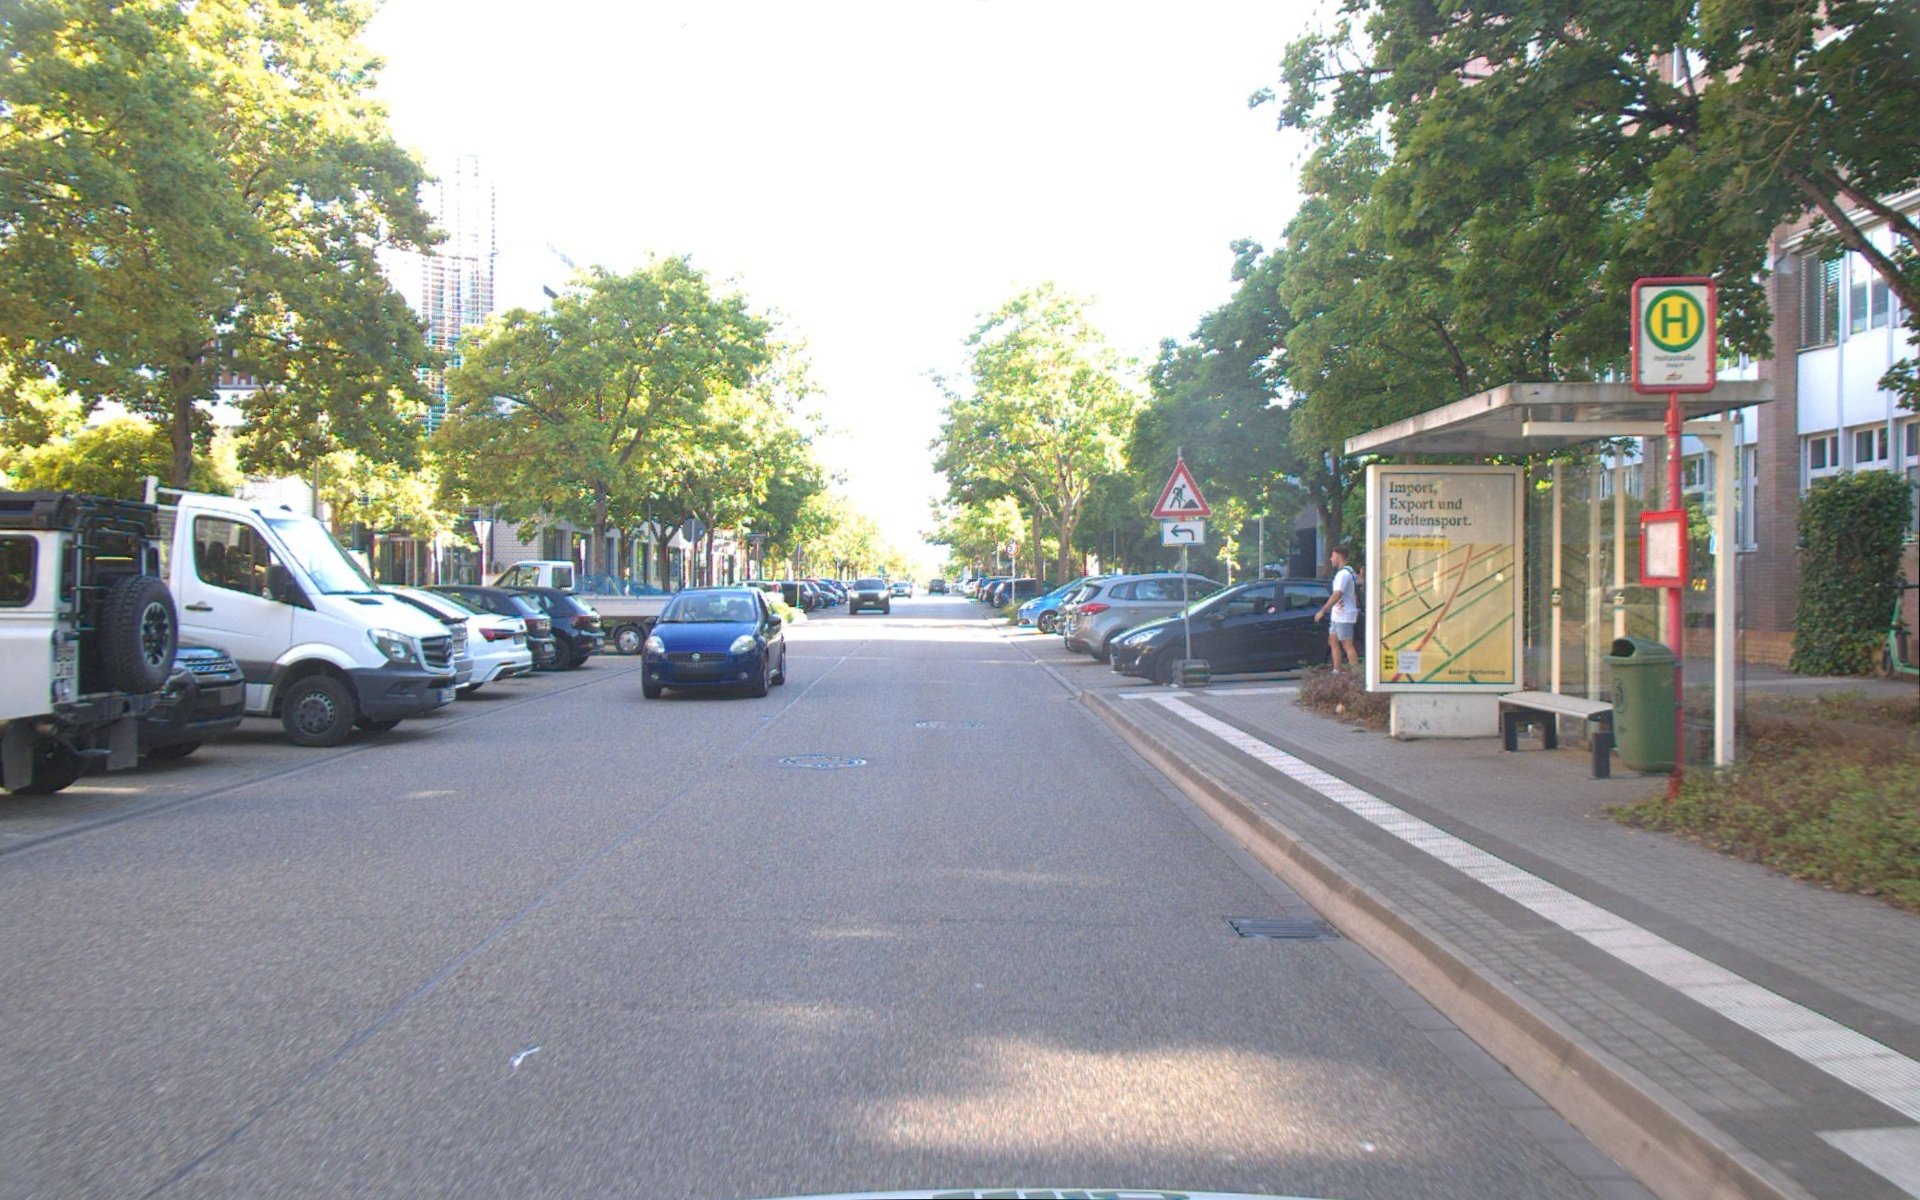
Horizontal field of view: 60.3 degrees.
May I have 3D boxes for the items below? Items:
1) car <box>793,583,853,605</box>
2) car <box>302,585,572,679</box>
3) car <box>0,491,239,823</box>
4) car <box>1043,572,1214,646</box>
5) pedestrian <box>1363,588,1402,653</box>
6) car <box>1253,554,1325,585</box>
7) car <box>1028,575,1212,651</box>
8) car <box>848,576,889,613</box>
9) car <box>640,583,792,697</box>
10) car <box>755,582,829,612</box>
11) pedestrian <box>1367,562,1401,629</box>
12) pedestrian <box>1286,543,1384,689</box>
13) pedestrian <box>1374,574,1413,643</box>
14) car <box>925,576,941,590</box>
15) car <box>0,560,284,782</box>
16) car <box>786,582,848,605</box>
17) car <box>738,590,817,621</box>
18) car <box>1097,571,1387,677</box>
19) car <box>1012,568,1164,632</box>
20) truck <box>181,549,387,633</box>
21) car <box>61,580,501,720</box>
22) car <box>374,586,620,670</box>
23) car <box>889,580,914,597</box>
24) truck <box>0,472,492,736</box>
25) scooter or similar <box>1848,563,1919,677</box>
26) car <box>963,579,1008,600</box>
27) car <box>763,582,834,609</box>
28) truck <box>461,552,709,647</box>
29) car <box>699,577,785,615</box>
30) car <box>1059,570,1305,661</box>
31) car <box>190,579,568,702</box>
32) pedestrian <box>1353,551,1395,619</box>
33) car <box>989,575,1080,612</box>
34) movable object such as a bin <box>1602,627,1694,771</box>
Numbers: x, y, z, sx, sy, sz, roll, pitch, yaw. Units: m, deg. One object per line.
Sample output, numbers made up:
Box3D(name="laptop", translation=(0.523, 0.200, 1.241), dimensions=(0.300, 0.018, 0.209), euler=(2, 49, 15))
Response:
Box3D(name="car", translation=(-9.030, -0.405, 109.192), dimensions=(3.814, 1.489, 1.857), euler=(0, 0, -2))
Box3D(name="car", translation=(-8.594, 0.505, 27.395), dimensions=(3.906, 1.460, 1.722), euler=(-1, 1, -1))
Box3D(name="car", translation=(-7.639, 0.310, 11.412), dimensions=(4.391, 2.087, 1.999), euler=(1, 0, -2))
Box3D(name="car", translation=(3.951, 0.185, 39.153), dimensions=(3.769, 1.509, 1.824), euler=(-3, 1, -2))
Box3D(name="pedestrian", translation=(9.837, 0.469, 38.560), dimensions=(0.686, 1.483, 0.715), euler=(-1, 1, -3))
Box3D(name="car", translation=(20.577, -1.917, 103.457), dimensions=(3.992, 1.814, 1.998), euler=(1, 0, -5))
Box3D(name="car", translation=(3.501, 0.265, 36.517), dimensions=(3.727, 1.433, 1.700), euler=(-3, 1, -6))
Box3D(name="car", translation=(-4.328, -0.284, 78.741), dimensions=(1.854, 1.713, 4.350), euler=(-1, 1, -3))
Box3D(name="car", translation=(-3.351, 0.496, 23.373), dimensions=(1.610, 1.445, 3.999), euler=(0, 1, -1))
Box3D(name="car", translation=(-8.544, -0.157, 84.277), dimensions=(3.657, 1.489, 1.676), euler=(0, 0, -2))
Box3D(name="pedestrian", translation=(9.925, -0.111, 38.713), dimensions=(0.590, 1.547, 0.594), euler=(-1, 1, -3))
Box3D(name="pedestrian", translation=(4.703, 0.187, 20.769), dimensions=(0.902, 1.740, 0.695), euler=(-4, 1, -14))
Box3D(name="pedestrian", translation=(10.101, 0.199, 38.543), dimensions=(0.741, 1.579, 0.559), euler=(-1, 1, -4))
Box3D(name="car", translation=(-3.290, -2.113, 201.787), dimensions=(1.894, 1.625, 4.365), euler=(-1, 1, -1))
Box3D(name="car", translation=(-8.084, 0.516, 13.802), dimensions=(4.023, 1.691, 2.000), euler=(1, 0, -1))
Box3D(name="car", translation=(-9.052, -0.420, 105.207), dimensions=(3.814, 1.489, 1.857), euler=(0, 0, -2))
Box3D(name="car", translation=(-8.823, 0.263, 80.228), dimensions=(3.657, 1.489, 1.676), euler=(0, 0, -2))
Box3D(name="car", translation=(4.011, 0.323, 23.939), dimensions=(3.856, 1.464, 1.773), euler=(0, 0, -3))
Box3D(name="car", translation=(3.792, -0.025, 49.626), dimensions=(4.316, 1.646, 1.911), euler=(-3, 1, -2))
Box3D(name="truck", translation=(-23.100, -0.325, 56.743), dimensions=(5.982, 2.752, 2.577), euler=(-1, 0, -3))
Box3D(name="car", translation=(-7.864, 0.555, 19.497), dimensions=(4.338, 1.513, 1.999), euler=(1, 0, -2))
Box3D(name="car", translation=(-8.306, 0.474, 29.870), dimensions=(3.903, 1.460, 1.790), euler=(0, 0, 3))
Box3D(name="car", translation=(-5.010, -0.982, 142.592), dimensions=(1.775, 1.440, 4.109), euler=(0, 1, 3))
Box3D(name="truck", translation=(-8.073, 0.030, 16.617), dimensions=(6.105, 2.464, 2.187), euler=(0, 0, -1))
Box3D(name="scooter or similar", translation=(11.590, 0.238, 20.023), dimensions=(0.538, 1.348, 1.804), euler=(1, 0, -6))
Box3D(name="car", translation=(2.356, -0.970, 151.118), dimensions=(3.910, 1.823, 1.998), euler=(0, 0, -6))
Box3D(name="car", translation=(-8.968, -0.249, 92.318), dimensions=(3.814, 1.489, 1.857), euler=(0, 0, -2))
Box3D(name="truck", translation=(-8.113, -0.012, 36.118), dimensions=(4.882, 1.993, 2.139), euler=(0, 0, 1))
Box3D(name="car", translation=(-9.282, -0.153, 70.491), dimensions=(3.509, 1.577, 1.636), euler=(0, -2, -3))
Box3D(name="car", translation=(4.141, 0.265, 31.240), dimensions=(4.269, 1.625, 1.936), euler=(0, 0, -7))
Box3D(name="car", translation=(-7.792, 0.521, 22.515), dimensions=(4.450, 1.467, 1.889), euler=(1, 1, -3))
Box3D(name="pedestrian", translation=(10.947, -0.403, 43.750), dimensions=(0.683, 1.740, 0.918), euler=(-3, 1, -12))
Box3D(name="car", translation=(3.579, -0.311, 79.753), dimensions=(4.183, 1.662, 1.857), euler=(-1, 0, -4))
Box3D(name="movable object such as a bin", translation=(3.865, 0.547, 9.303), dimensions=(0.292, 0.767, 0.467), euler=(-2, 0, -1))
